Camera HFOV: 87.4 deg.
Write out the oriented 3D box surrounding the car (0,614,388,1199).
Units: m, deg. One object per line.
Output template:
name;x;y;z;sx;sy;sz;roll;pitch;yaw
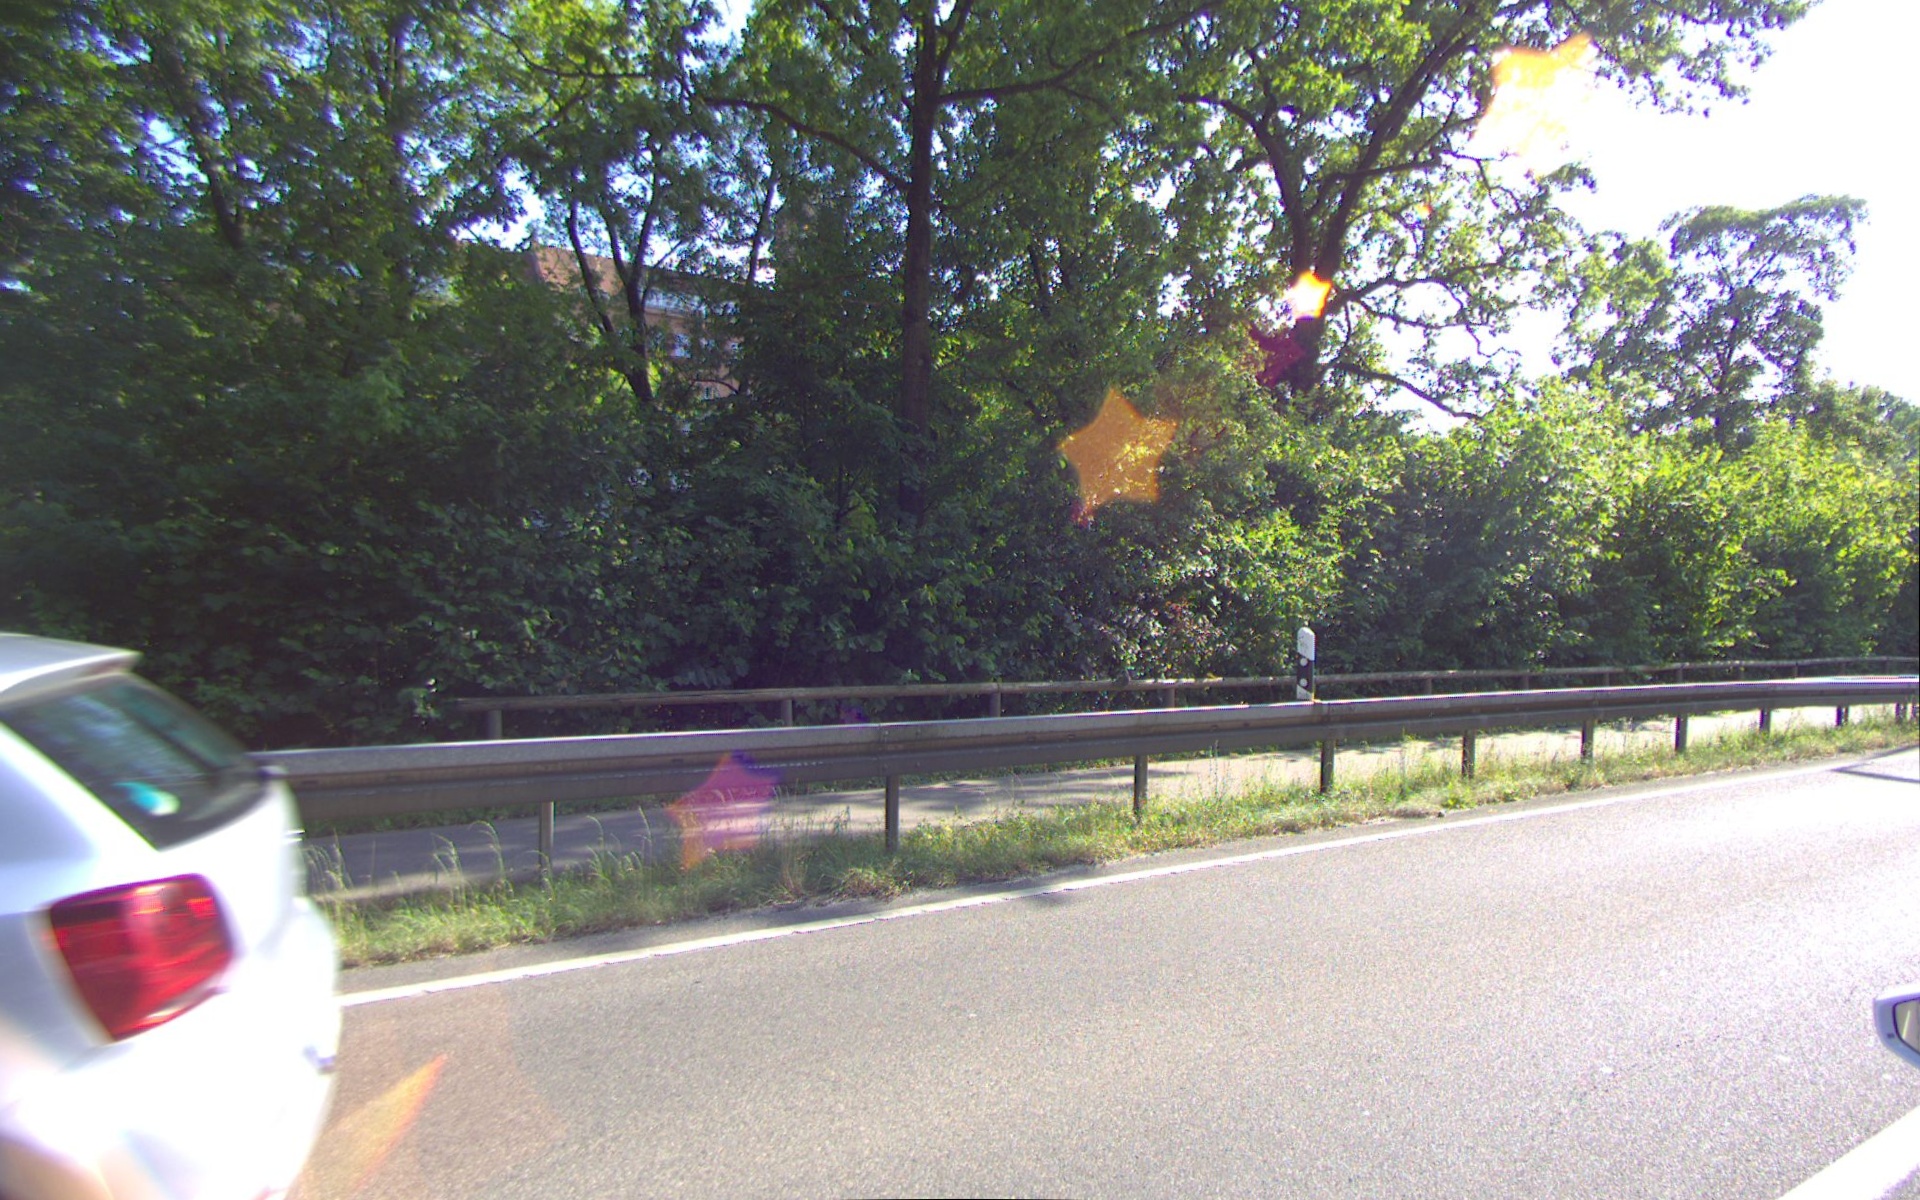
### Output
car;-3.132;0.708;1.427;4.001;1.395;1.615;1;-1;-31
